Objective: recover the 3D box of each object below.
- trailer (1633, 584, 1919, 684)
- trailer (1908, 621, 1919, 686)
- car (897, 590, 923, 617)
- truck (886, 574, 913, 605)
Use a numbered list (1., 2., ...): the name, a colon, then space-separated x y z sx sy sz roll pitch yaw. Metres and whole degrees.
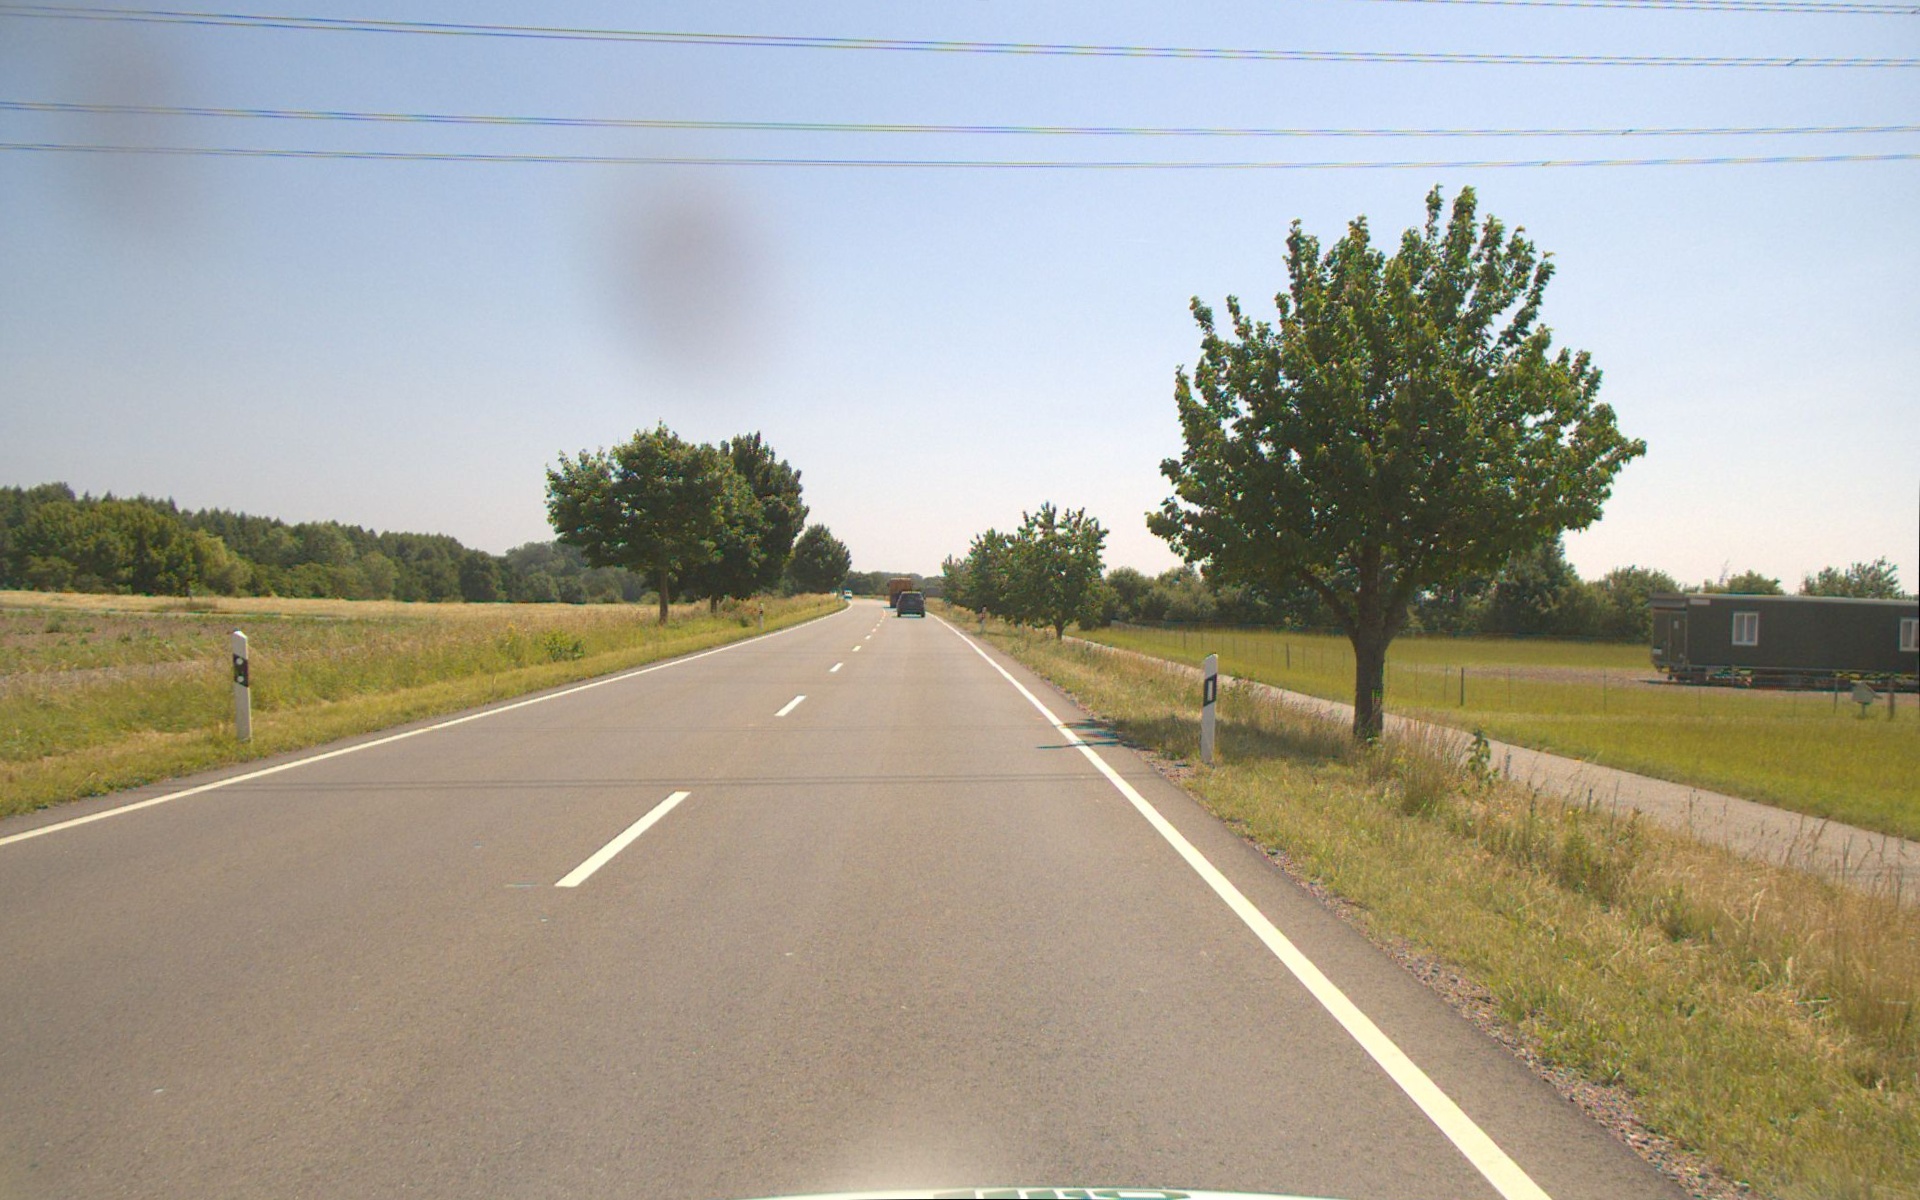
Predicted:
1. trailer: 33.605 1.356 65.781 12.163 3.533 3.803 2 0 -3
2. trailer: 38.619 2.114 62.958 3.909 2.485 1.998 2 0 -5
3. car: -3.347 0.253 110.748 1.680 1.723 3.987 1 0 -2
4. truck: -6.617 -1.129 180.280 2.325 3.195 8.736 1 0 -6
